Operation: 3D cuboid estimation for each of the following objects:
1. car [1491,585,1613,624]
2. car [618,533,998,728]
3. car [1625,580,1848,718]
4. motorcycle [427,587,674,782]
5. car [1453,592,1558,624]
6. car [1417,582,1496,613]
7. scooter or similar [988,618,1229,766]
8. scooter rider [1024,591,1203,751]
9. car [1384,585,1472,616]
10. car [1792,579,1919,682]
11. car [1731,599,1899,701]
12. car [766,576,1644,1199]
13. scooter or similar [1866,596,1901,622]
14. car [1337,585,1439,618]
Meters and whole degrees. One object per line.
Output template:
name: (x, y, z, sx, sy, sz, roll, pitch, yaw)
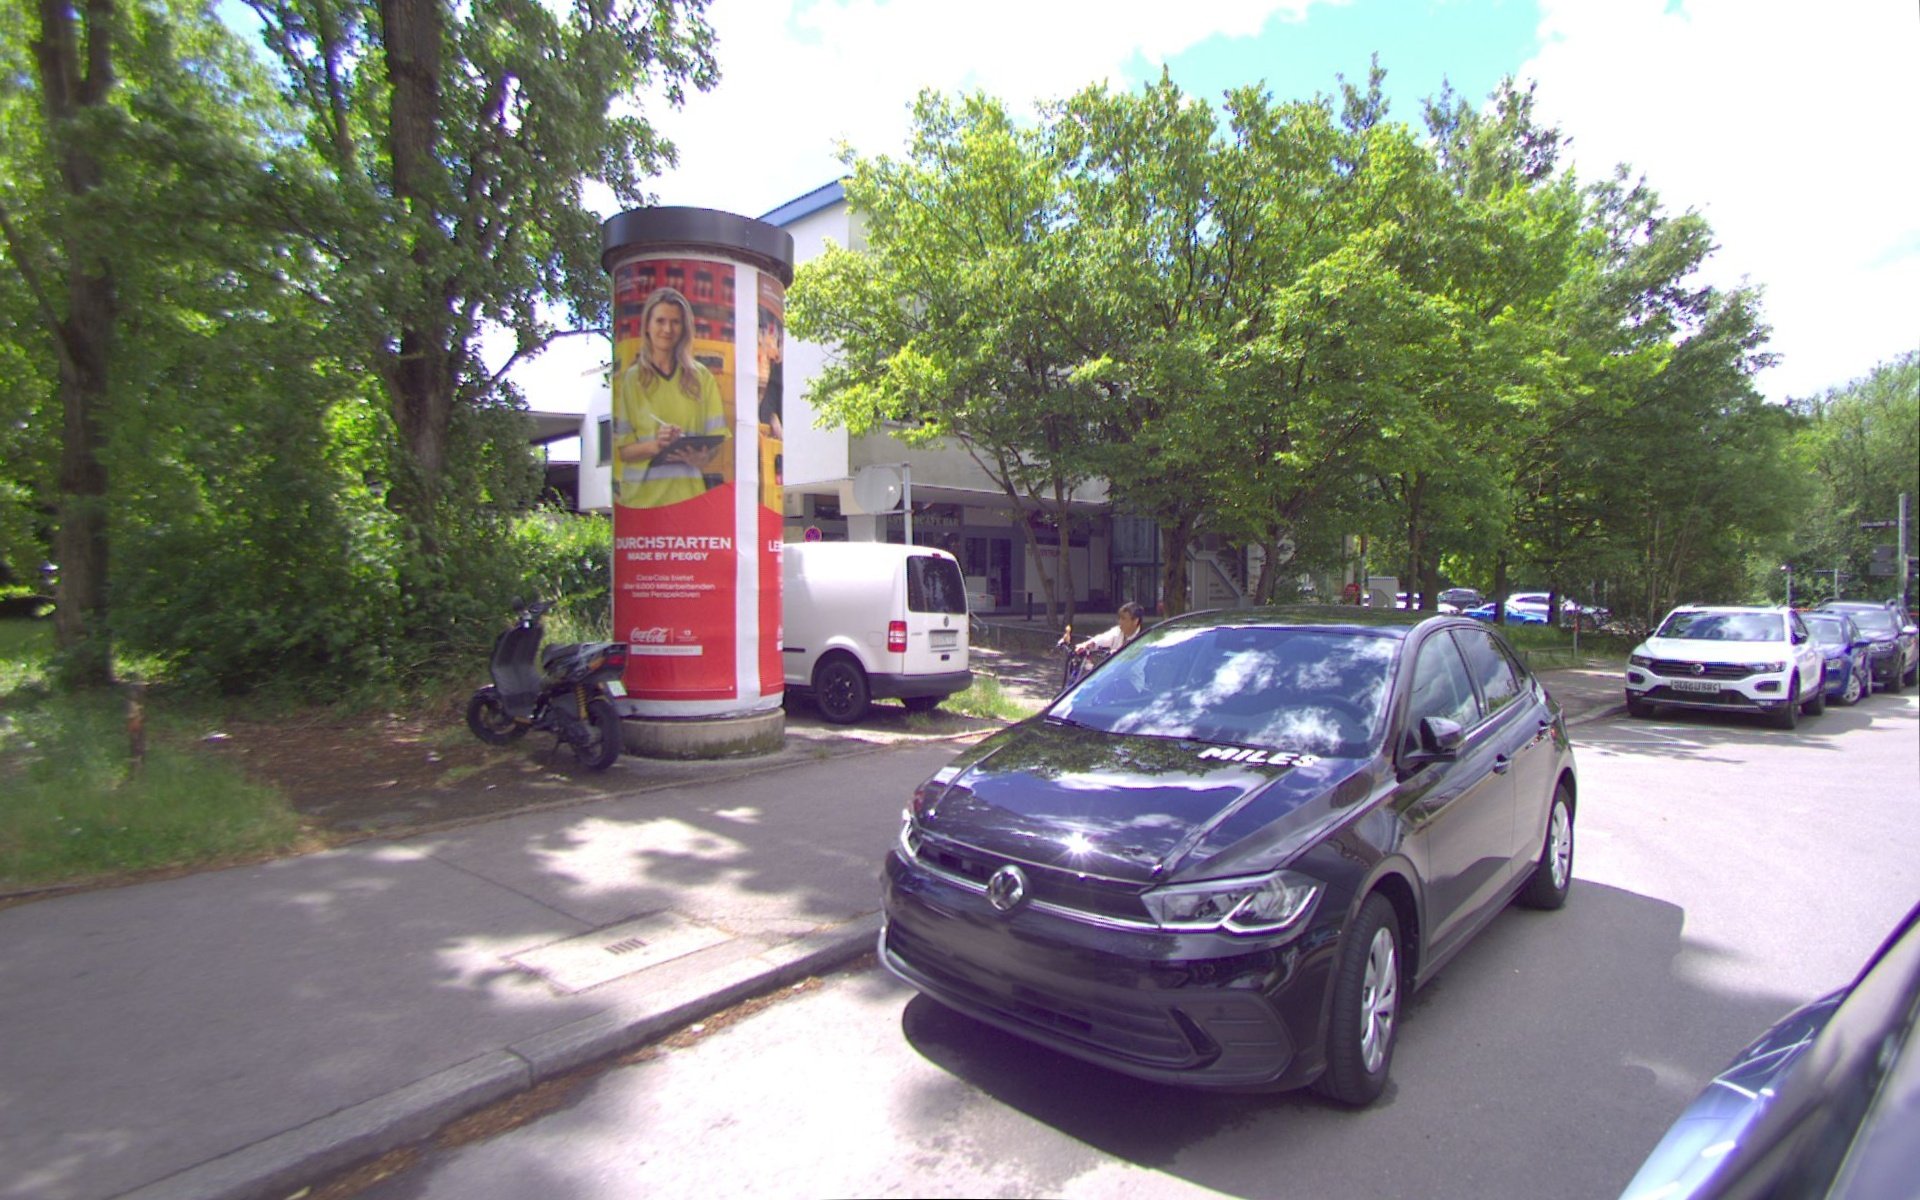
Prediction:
car: (28.185, 0.182, 48.288, 1.892, 1.611, 4.647, -3, 4, -43)
car: (-1.749, 0.226, 11.415, 3.965, 1.845, 1.792, 2, 1, 29)
car: (10.922, 0.587, 14.106, 4.493, 1.584, 1.786, 1, 1, -44)
motorcycle: (-3.014, 0.552, 7.406, 1.785, 1.225, 0.705, 2, 1, 30)
car: (25.514, 0.330, 47.429, 1.882, 1.240, 3.963, -3, 4, -43)
car: (28.188, -0.156, 57.482, 3.774, 1.557, 1.659, 3, 1, 39)
scooter or similar: (1.316, 0.727, 8.699, 2.077, 1.078, 0.891, 2, 1, -41)
scooter rider: (1.325, 0.569, 8.710, 1.259, 1.235, 0.887, 2, 1, -41)
car: (24.617, 0.006, 53.313, 3.887, 1.429, 1.583, 3, 4, 45)
car: (17.908, 0.544, 19.914, 4.490, 1.784, 1.647, 1, 1, -41)
car: (14.502, 0.765, 17.095, 4.006, 1.476, 1.646, 1, 1, -42)
car: (1.296, 0.695, 4.306, 3.761, 1.467, 1.818, 1, 1, -42)
scooter or similar: (46.078, 0.441, 50.504, 0.440, 1.210, 1.172, 1, 1, -32)
car: (21.747, 0.038, 51.523, 4.391, 1.432, 1.921, 3, 4, 45)
